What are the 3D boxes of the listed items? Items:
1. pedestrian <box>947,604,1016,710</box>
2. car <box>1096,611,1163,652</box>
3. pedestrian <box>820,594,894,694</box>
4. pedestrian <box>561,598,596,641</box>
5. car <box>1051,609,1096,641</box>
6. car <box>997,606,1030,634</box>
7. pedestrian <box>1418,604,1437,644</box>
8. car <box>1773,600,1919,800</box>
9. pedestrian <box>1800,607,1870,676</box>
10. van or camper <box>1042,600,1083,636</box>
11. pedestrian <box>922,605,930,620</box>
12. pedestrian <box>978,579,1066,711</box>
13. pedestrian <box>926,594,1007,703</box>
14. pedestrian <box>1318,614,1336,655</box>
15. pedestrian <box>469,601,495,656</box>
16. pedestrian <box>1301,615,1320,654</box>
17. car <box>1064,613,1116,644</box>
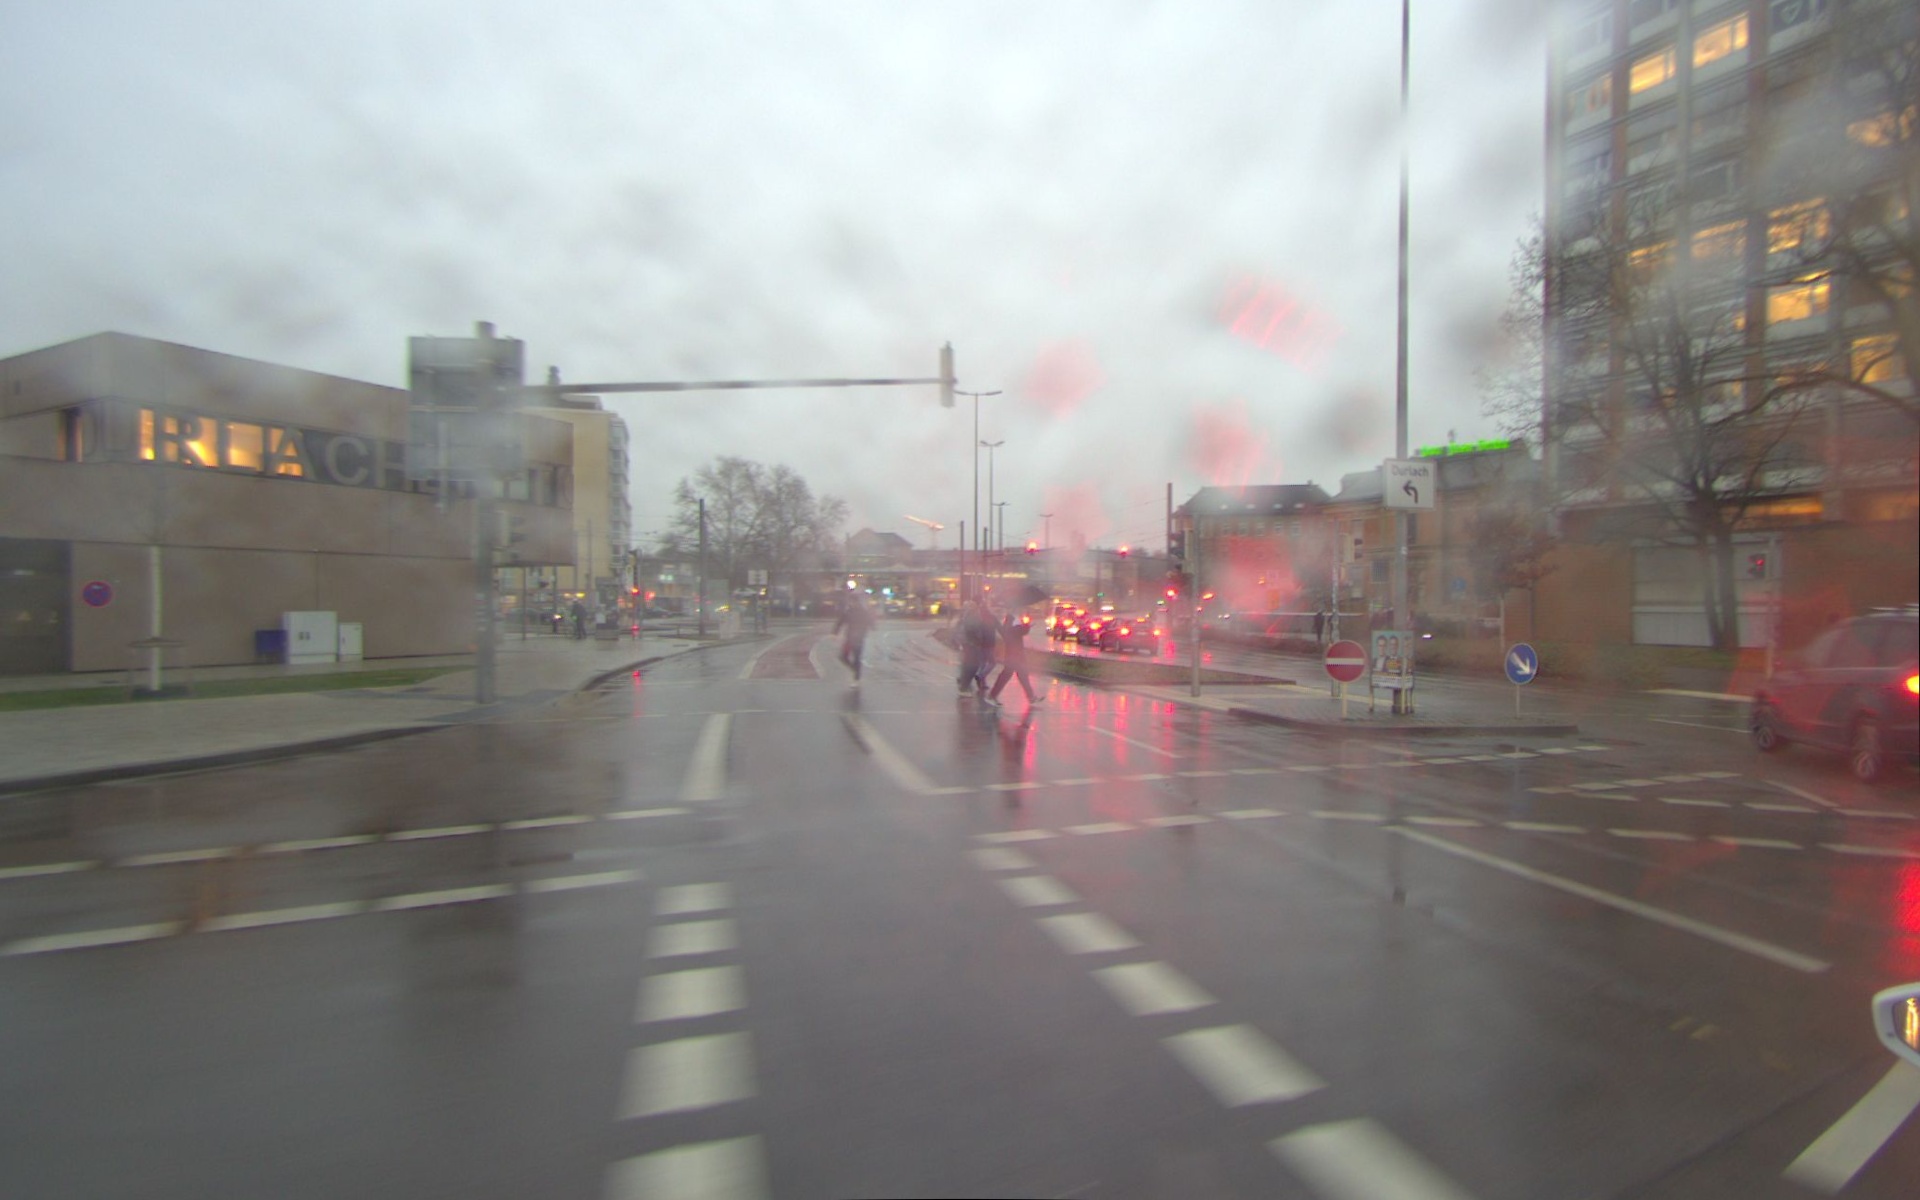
[{"bbox_3d":[0.434,1.107,20.191,1.096,2.033,0.841,0,3,-31],"label":"pedestrian"},{"bbox_3d":[6.961,1.258,41.684,1.674,1.501,3.868,3,0,-6],"label":"car"},{"bbox_3d":[-2.055,0.852,20.139,1.015,1.883,1.234,2,2,20],"label":"pedestrian"},{"bbox_3d":[-17.495,0.874,46.064,1.043,1.944,1.122,0,0,28],"label":"pedestrian"},{"bbox_3d":[6.213,1.331,55.612,1.756,1.622,4.540,3,-1,-2],"label":"car"},{"bbox_3d":[3.469,1.310,66.326,1.854,1.795,3.999,1,0,-1],"label":"car"},{"bbox_3d":[20.164,1.040,43.303,0.706,1.710,0.759,0,0,24],"label":"pedestrian"},{"bbox_3d":[10.420,0.949,10.809,1.751,1.824,4.418,1,0,28],"label":"car"},{"bbox_3d":[22.451,1.039,25.797,0.795,1.710,1.069,-1,0,-7],"label":"pedestrian"},{"bbox_3d":[6.493,1.144,64.328,2.165,2.137,4.988,2,0,1],"label":"van or camper"},{"bbox_3d":[-3.976,1.464,117.409,0.818,1.845,0.696,-1,0,5],"label":"pedestrian"},{"bbox_3d":[0.999,0.716,16.515,1.193,2.077,1.033,0,2,-11],"label":"pedestrian"},{"bbox_3d":[0.118,0.845,18.351,1.026,1.883,1.058,-1,3,-39],"label":"pedestrian"},{"bbox_3d":[18.864,1.774,51.625,0.794,2.041,0.759,2,3,24],"label":"pedestrian"},{"bbox_3d":[-15.903,0.929,33.424,0.651,1.791,0.830,0,0,-19],"label":"pedestrian"},{"bbox_3d":[18.122,1.782,51.906,0.794,1.956,0.759,2,3,24],"label":"pedestrian"},{"bbox_3d":[6.320,1.350,49.222,1.633,1.422,4.117,1,-1,-5],"label":"car"}]
